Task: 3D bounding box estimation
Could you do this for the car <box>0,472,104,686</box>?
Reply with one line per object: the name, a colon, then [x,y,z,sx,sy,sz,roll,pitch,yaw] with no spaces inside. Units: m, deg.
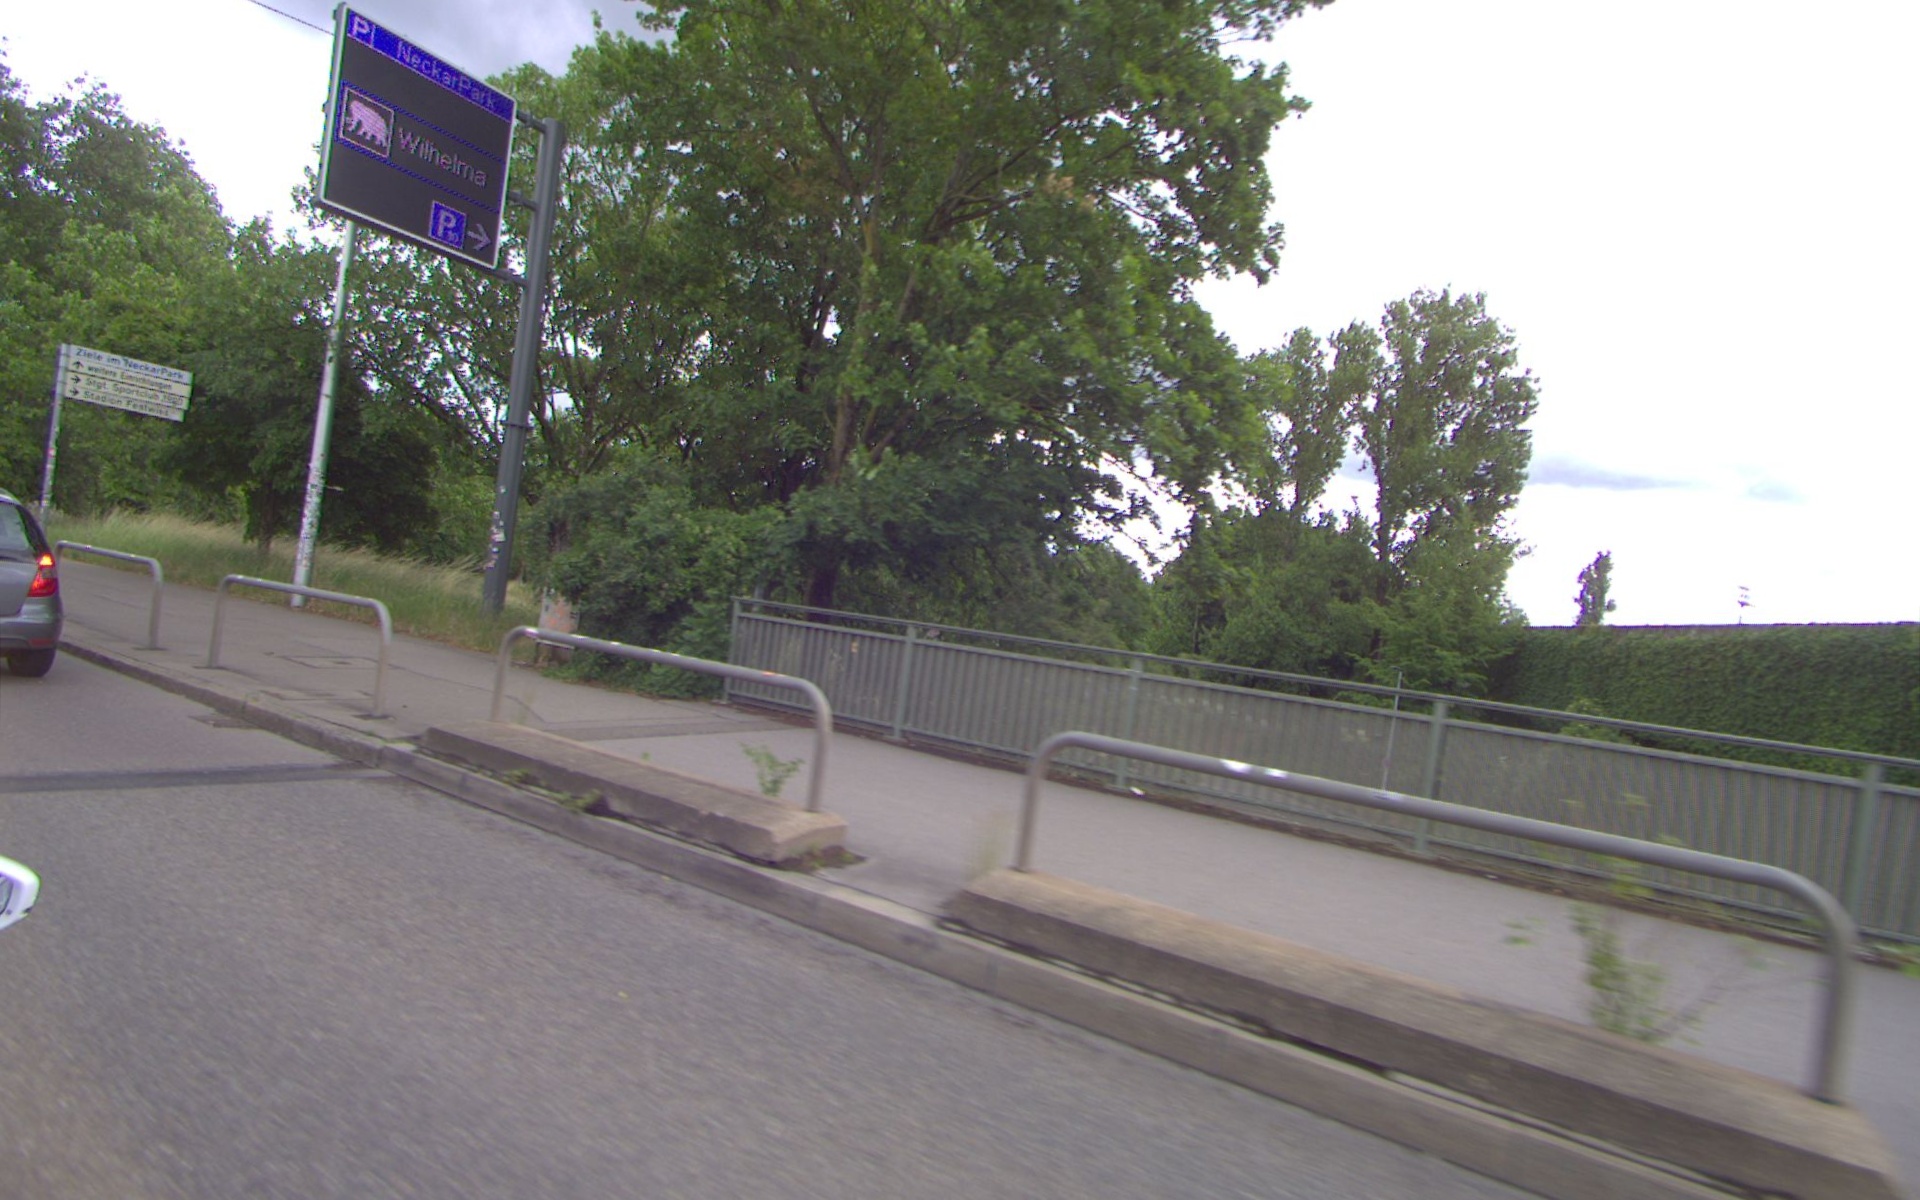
car: [-9.248,-0.344,8.530,3.968,1.635,1.829,5,-2,32]
